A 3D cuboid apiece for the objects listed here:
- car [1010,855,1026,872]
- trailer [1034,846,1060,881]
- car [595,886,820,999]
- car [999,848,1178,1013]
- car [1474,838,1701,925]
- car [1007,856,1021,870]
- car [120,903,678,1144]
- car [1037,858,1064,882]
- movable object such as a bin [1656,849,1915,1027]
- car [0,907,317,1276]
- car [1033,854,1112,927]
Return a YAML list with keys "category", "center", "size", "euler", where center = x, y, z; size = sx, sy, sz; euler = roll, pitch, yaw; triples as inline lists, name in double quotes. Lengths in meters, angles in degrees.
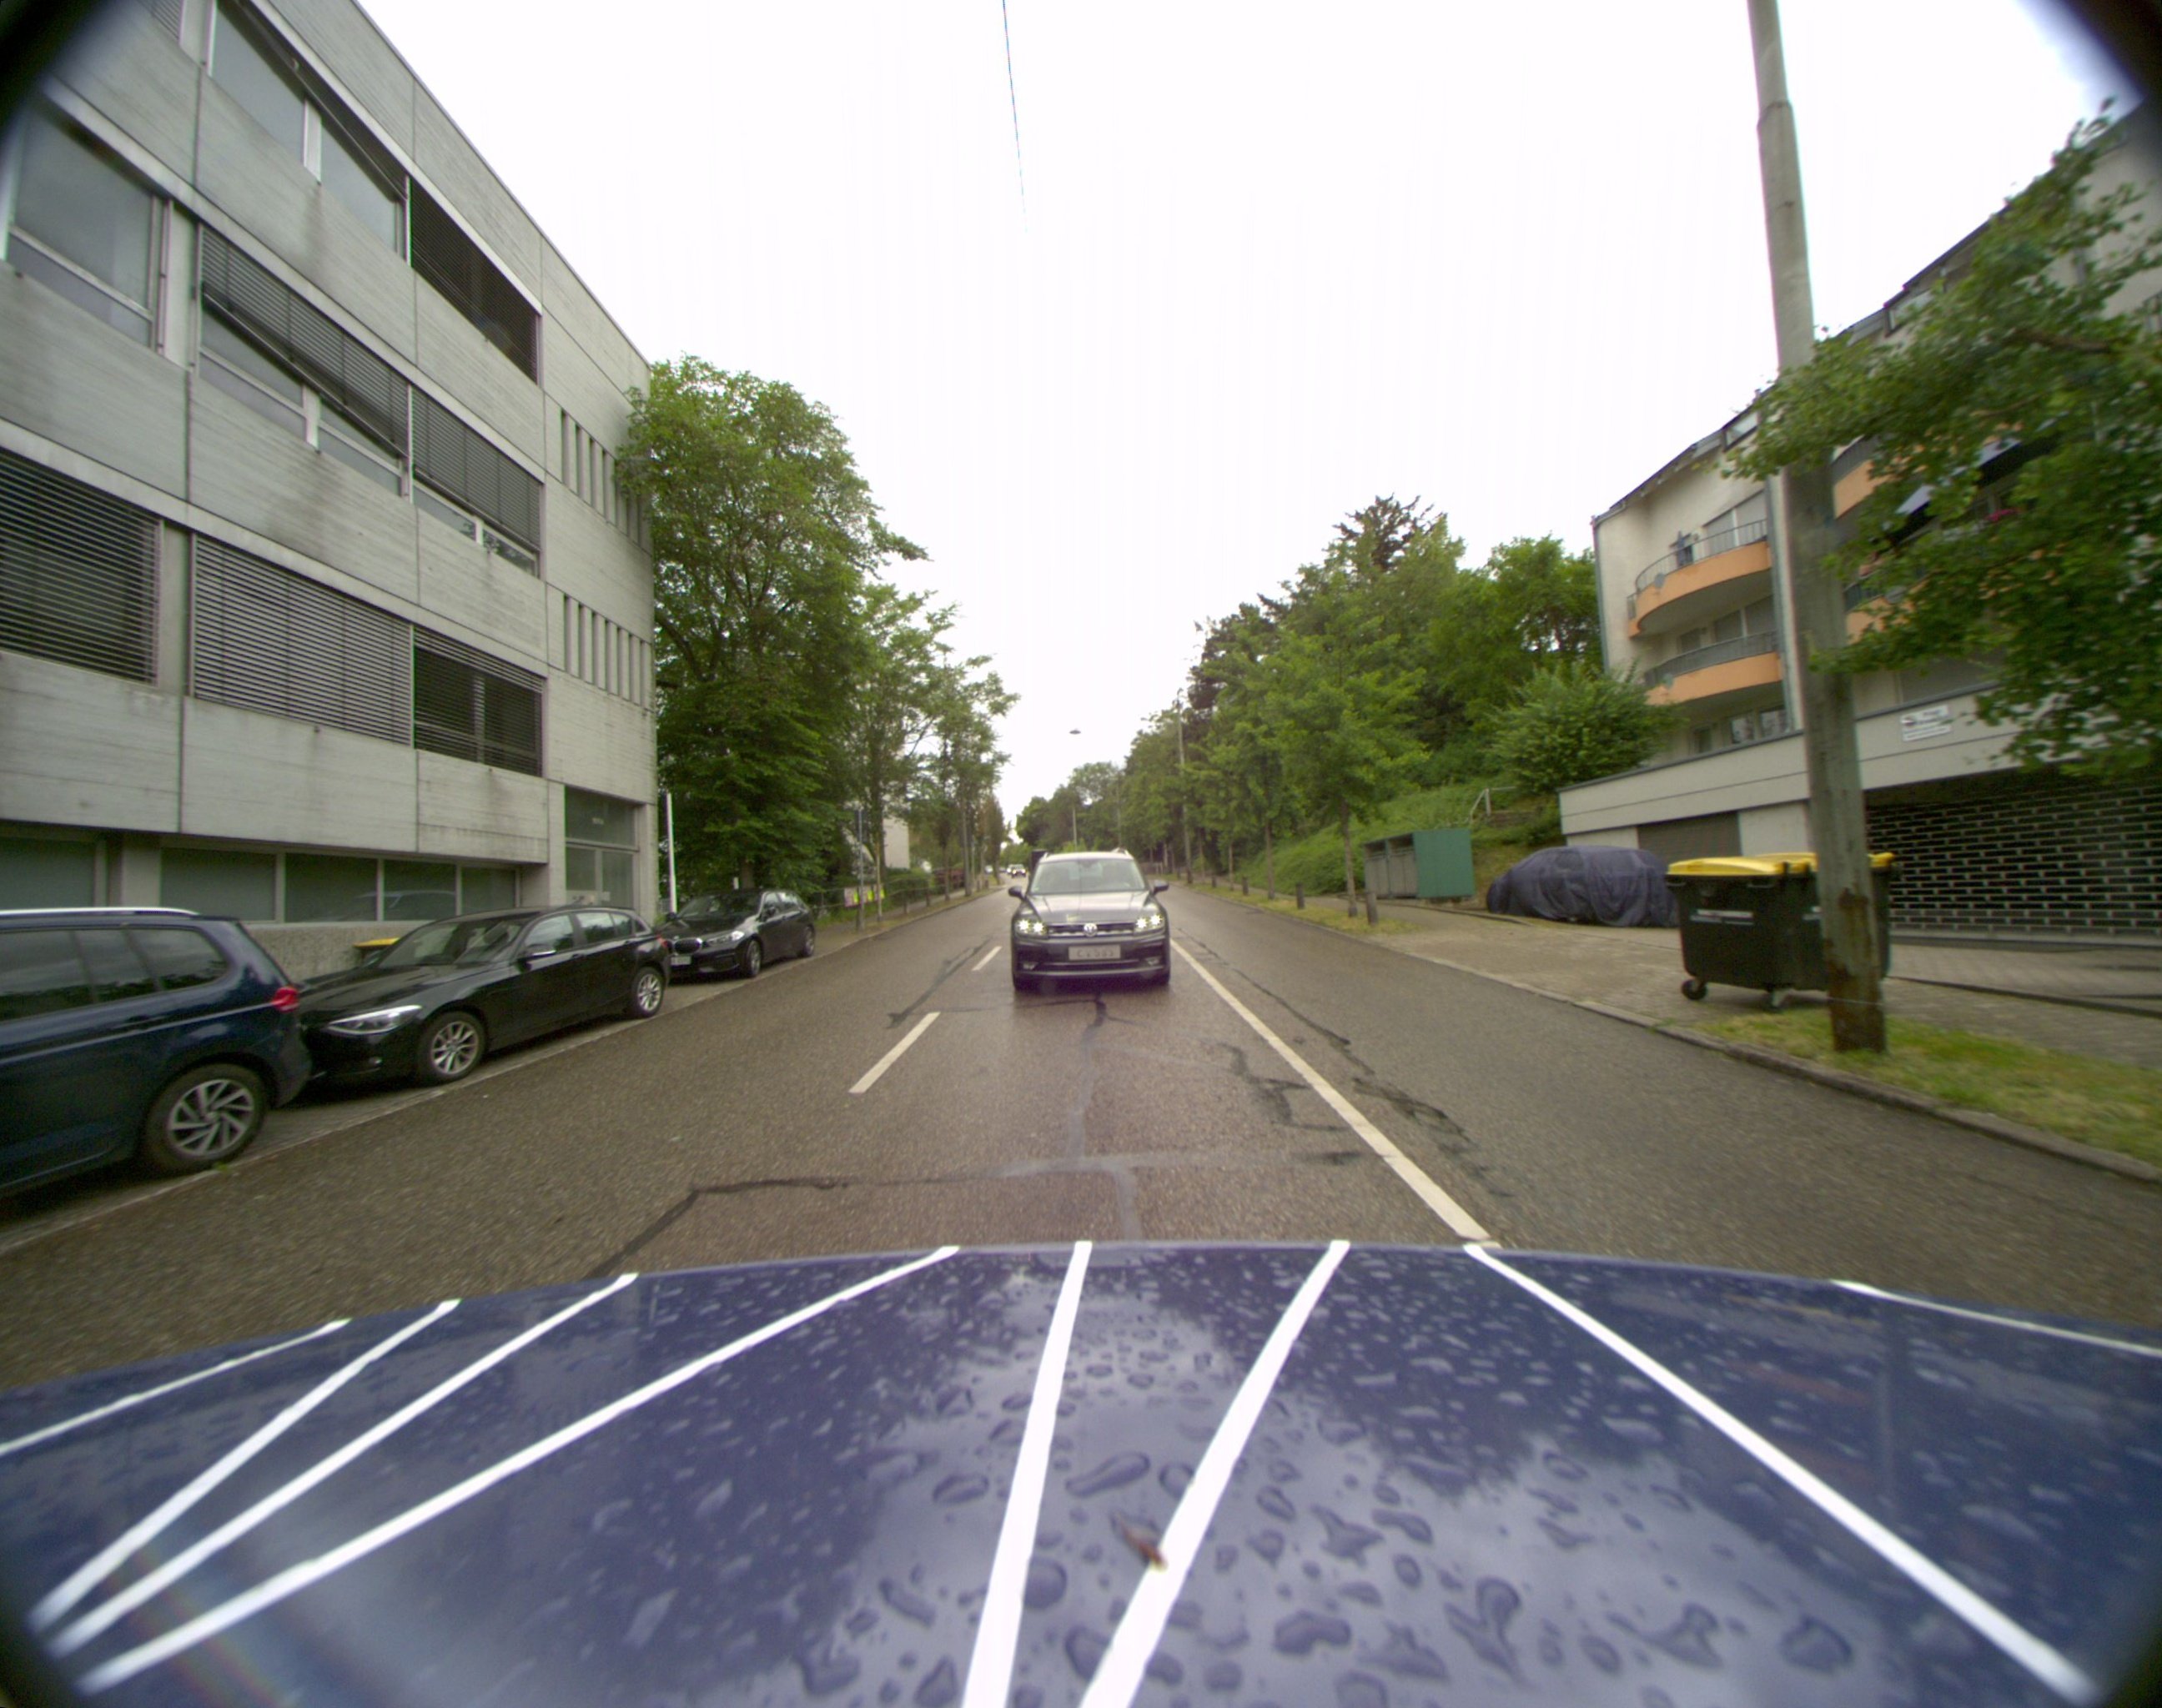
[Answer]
- category: "car"
  center: [-8.337, 1.259, 99.946]
  size: [1.999, 2.002, 3.997]
  euler: [-4, 1, -5]
- category: "trailer"
  center: [-2.700, 0.693, 60.664]
  size: [1.771, 2.610, 3.031]
  euler: [-4, 1, -5]
- category: "car"
  center: [-6.215, 1.394, 13.272]
  size: [1.843, 1.436, 4.155]
  euler: [-2, 0, 0]
- category: "car"
  center: [0.100, 0.803, 10.117]
  size: [1.786, 1.631, 4.200]
  euler: [-4, 0, 1]
- category: "car"
  center: [9.754, 0.482, 15.068]
  size: [1.856, 1.483, 3.865]
  euler: [1, 0, -1]
- category: "car"
  center: [-10.954, 1.425, 124.340]
  size: [1.999, 2.002, 3.999]
  euler: [-3, 1, -2]
- category: "car"
  center: [-6.165, 1.397, 7.690]
  size: [1.710, 1.436, 4.098]
  euler: [-4, 0, 3]
- category: "car"
  center: [-2.364, 1.199, 57.447]
  size: [1.737, 1.610, 3.473]
  euler: [-4, 1, -6]
- category: "movable object such as a bin"
  center: [6.123, 0.669, 6.684]
  size: [1.227, 1.343, 1.122]
  euler: [-4, 2, -8]
- category: "car"
  center: [-6.099, 1.245, 2.956]
  size: [1.749, 1.665, 4.344]
  euler: [-4, 0, 0]
- category: "car"
  center: [-0.173, 0.880, 20.291]
  size: [1.786, 1.631, 4.200]
  euler: [-4, 0, 1]
